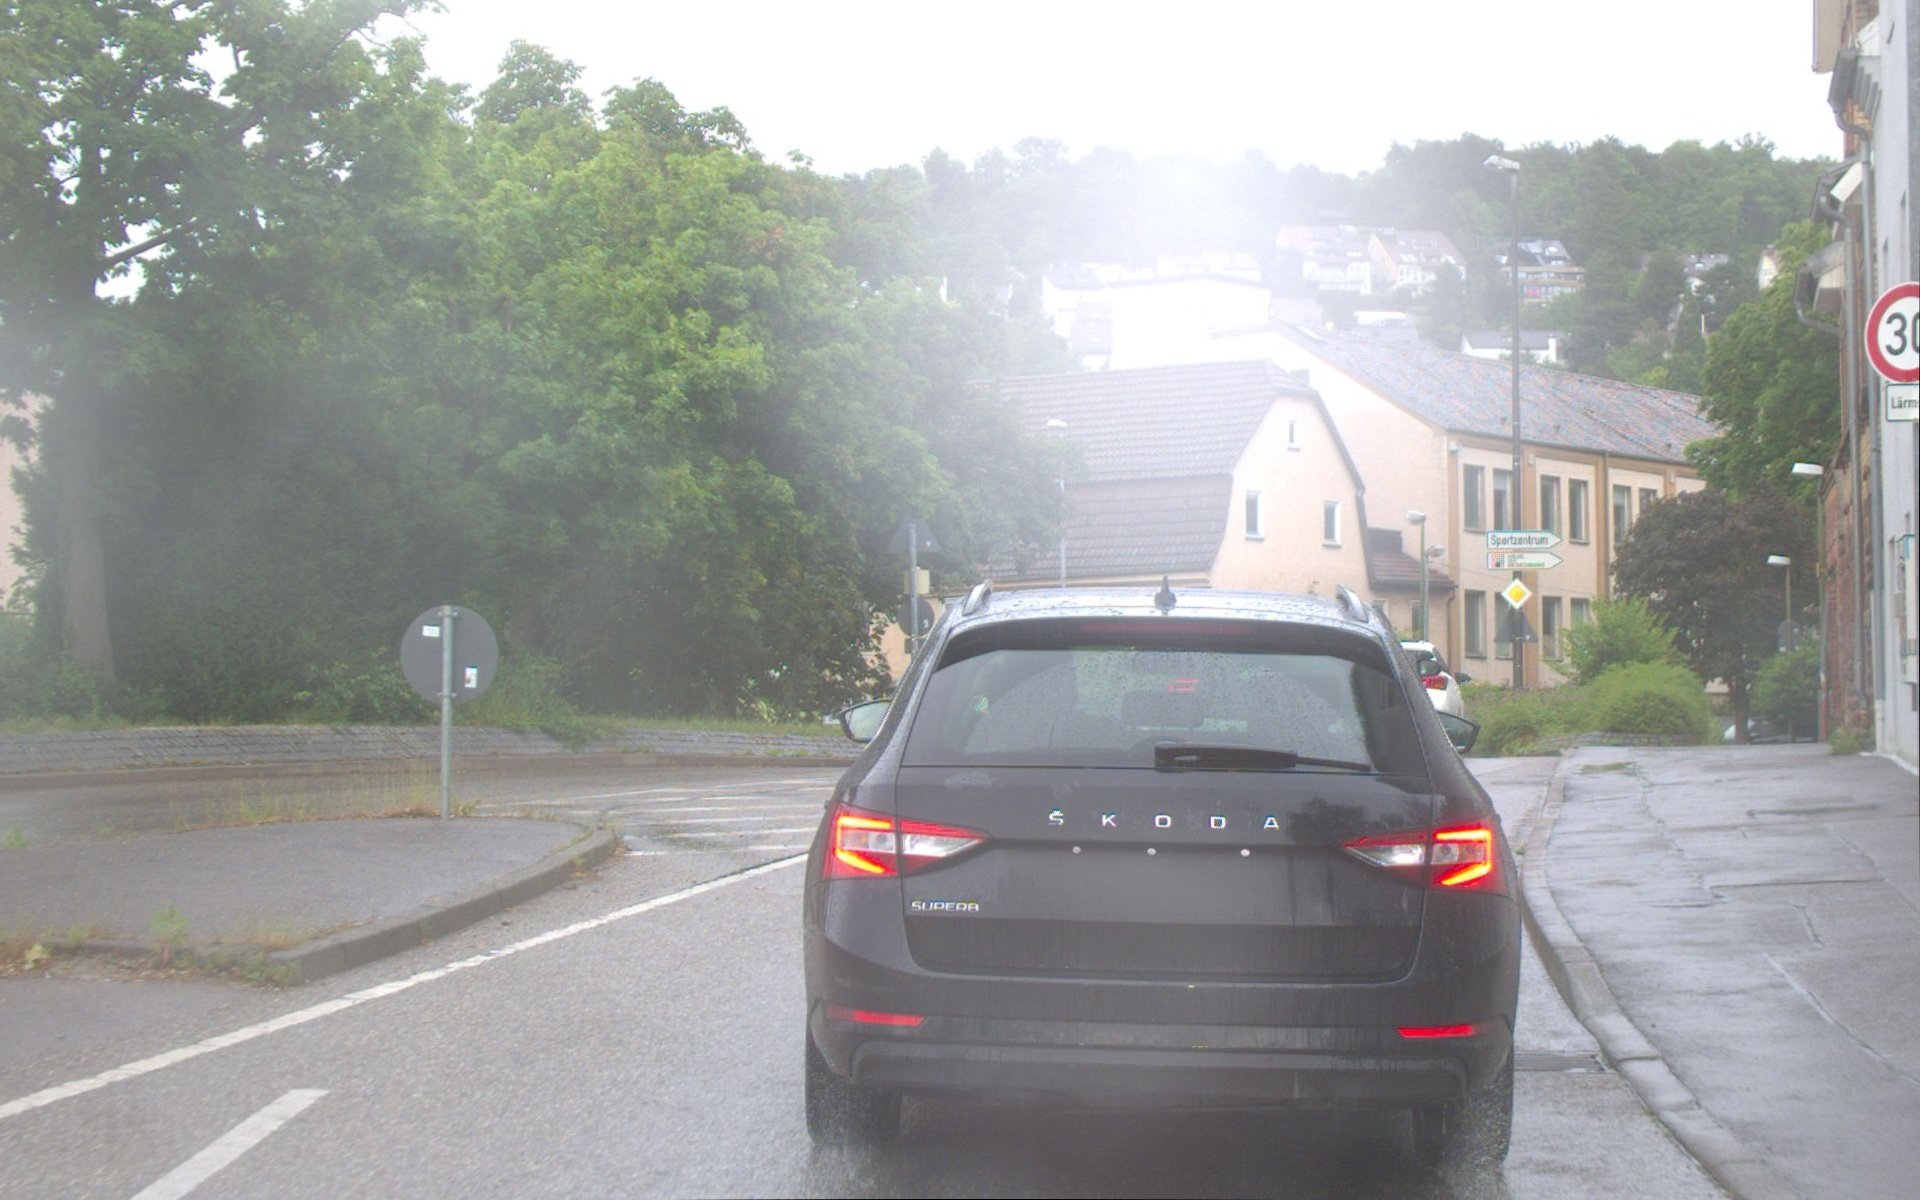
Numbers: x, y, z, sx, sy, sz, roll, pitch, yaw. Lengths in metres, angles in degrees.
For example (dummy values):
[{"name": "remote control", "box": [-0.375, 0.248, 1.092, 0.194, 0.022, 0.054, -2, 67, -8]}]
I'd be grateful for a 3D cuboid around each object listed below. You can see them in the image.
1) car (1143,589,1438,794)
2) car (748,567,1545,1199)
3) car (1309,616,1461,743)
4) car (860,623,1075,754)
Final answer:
[{"name": "car", "box": [2.465, 0.716, 24.854, 1.818, 1.355, 3.987, -1, -3, 10]}, {"name": "car", "box": [0.516, 0.675, 9.975, 1.782, 1.478, 4.245, 1, 0, 3]}, {"name": "car", "box": [5.181, 0.924, 41.562, 1.653, 1.382, 3.918, 1, 0, 9]}, {"name": "car", "box": [0.147, 1.095, 43.108, 1.645, 1.547, 4.151, 0, -1, 15]}]
